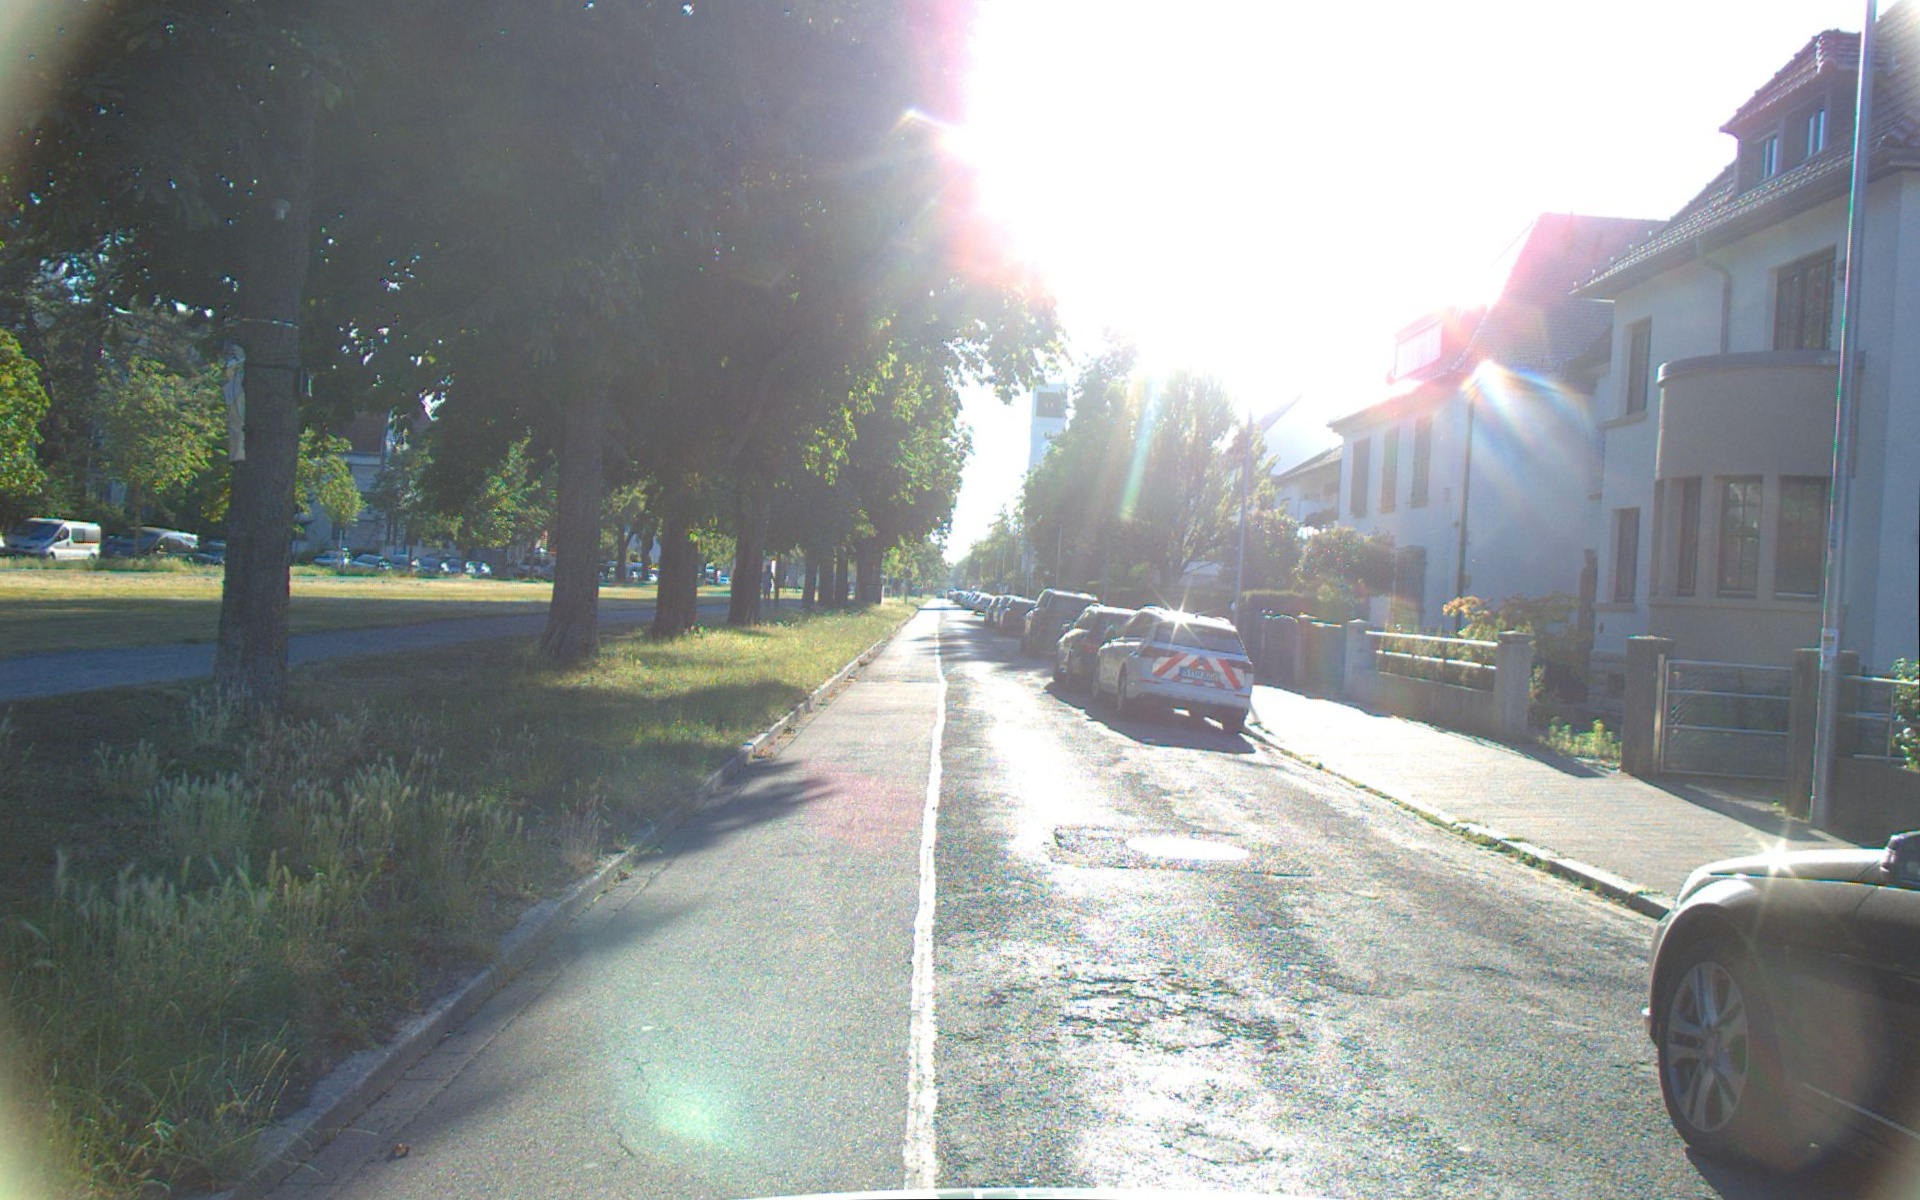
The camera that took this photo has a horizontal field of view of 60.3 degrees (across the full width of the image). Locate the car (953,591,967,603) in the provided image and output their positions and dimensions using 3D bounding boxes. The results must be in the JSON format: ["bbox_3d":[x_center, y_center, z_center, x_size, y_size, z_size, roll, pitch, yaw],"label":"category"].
[{"bbox_3d":[0.060,-0.465,240.827,1.940,1.712,4.000,3,0,0],"label":"car"}]

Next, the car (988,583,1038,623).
[{"bbox_3d":[2.337,0.097,73.448,1.659,1.508,3.926,7,0,-5],"label":"car"}]

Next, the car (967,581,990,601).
[{"bbox_3d":[1.522,-0.772,139.102,1.723,1.633,4.357,3,1,-2],"label":"car"}]

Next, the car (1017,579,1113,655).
[{"bbox_3d":[2.684,0.387,43.233,1.954,1.767,4.862,3,1,-2],"label":"car"}]

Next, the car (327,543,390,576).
[{"bbox_3d":[-34.471,-2.311,94.828,1.952,1.713,4.001,4,1,2],"label":"car"}]

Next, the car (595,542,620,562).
[{"bbox_3d":[-41.668,-5.656,195.572,1.953,2.049,4.483,1,-1,-1],"label":"car"}]

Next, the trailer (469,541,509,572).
[{"bbox_3d":[-40.262,-3.708,141.456,1.953,2.470,4.723,3,0,0],"label":"trailer"}]

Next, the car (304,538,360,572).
[{"bbox_3d":[-39.906,-2.836,105.229,1.990,2.049,4.000,1,0,0],"label":"car"}]

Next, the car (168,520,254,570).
[{"bbox_3d":[-34.155,-2.494,75.539,1.953,2.048,4.000,4,0,0],"label":"car"}]

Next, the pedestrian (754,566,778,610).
[{"bbox_3d":[-8.214,-0.514,70.078,0.709,1.788,0.994,3,1,6],"label":"pedestrian"}]

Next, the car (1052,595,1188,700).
[{"bbox_3d":[2.731,0.769,29.191,1.744,1.488,4.593,6,1,-1],"label":"car"}]

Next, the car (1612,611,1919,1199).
[{"bbox_3d":[3.131,0.915,3.194,1.744,1.525,4.396,6,1,-2],"label":"car"}]

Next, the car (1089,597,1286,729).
[{"bbox_3d":[3.098,0.810,23.527,1.954,1.489,4.549,5,0,-2],"label":"car"}]

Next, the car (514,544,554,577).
[{"bbox_3d":[-40.644,-3.763,157.927,2.388,2.973,5.817,1,0,-1],"label":"car"}]

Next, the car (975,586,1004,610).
[{"bbox_3d":[2.031,-0.157,115.739,1.723,1.443,4.072,9,0,0],"label":"car"}]

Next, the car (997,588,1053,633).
[{"bbox_3d":[2.445,0.369,62.832,1.757,1.518,4.673,4,0,-1],"label":"car"}]

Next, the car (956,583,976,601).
[{"bbox_3d":[0.538,-0.794,159.620,1.723,1.633,4.357,3,1,-2],"label":"car"}]

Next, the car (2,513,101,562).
[{"bbox_3d":[-39.306,-2.674,71.687,1.780,1.869,4.408,3,1,0],"label":"car"}]

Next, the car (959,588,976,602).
[{"bbox_3d":[0.969,-0.625,206.368,1.953,1.657,4.000,3,0,0],"label":"car"}]

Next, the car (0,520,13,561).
[{"bbox_3d":[-39.889,-2.481,65.918,1.721,1.651,4.305,4,1,0],"label":"car"}]

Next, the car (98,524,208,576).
[{"bbox_3d":[-33.808,-2.073,69.456,1.953,1.974,5.246,3,1,0],"label":"car"}]

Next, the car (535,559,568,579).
[{"bbox_3d":[-34.982,-2.650,141.817,1.650,1.586,4.314,3,0,0],"label":"car"}]
